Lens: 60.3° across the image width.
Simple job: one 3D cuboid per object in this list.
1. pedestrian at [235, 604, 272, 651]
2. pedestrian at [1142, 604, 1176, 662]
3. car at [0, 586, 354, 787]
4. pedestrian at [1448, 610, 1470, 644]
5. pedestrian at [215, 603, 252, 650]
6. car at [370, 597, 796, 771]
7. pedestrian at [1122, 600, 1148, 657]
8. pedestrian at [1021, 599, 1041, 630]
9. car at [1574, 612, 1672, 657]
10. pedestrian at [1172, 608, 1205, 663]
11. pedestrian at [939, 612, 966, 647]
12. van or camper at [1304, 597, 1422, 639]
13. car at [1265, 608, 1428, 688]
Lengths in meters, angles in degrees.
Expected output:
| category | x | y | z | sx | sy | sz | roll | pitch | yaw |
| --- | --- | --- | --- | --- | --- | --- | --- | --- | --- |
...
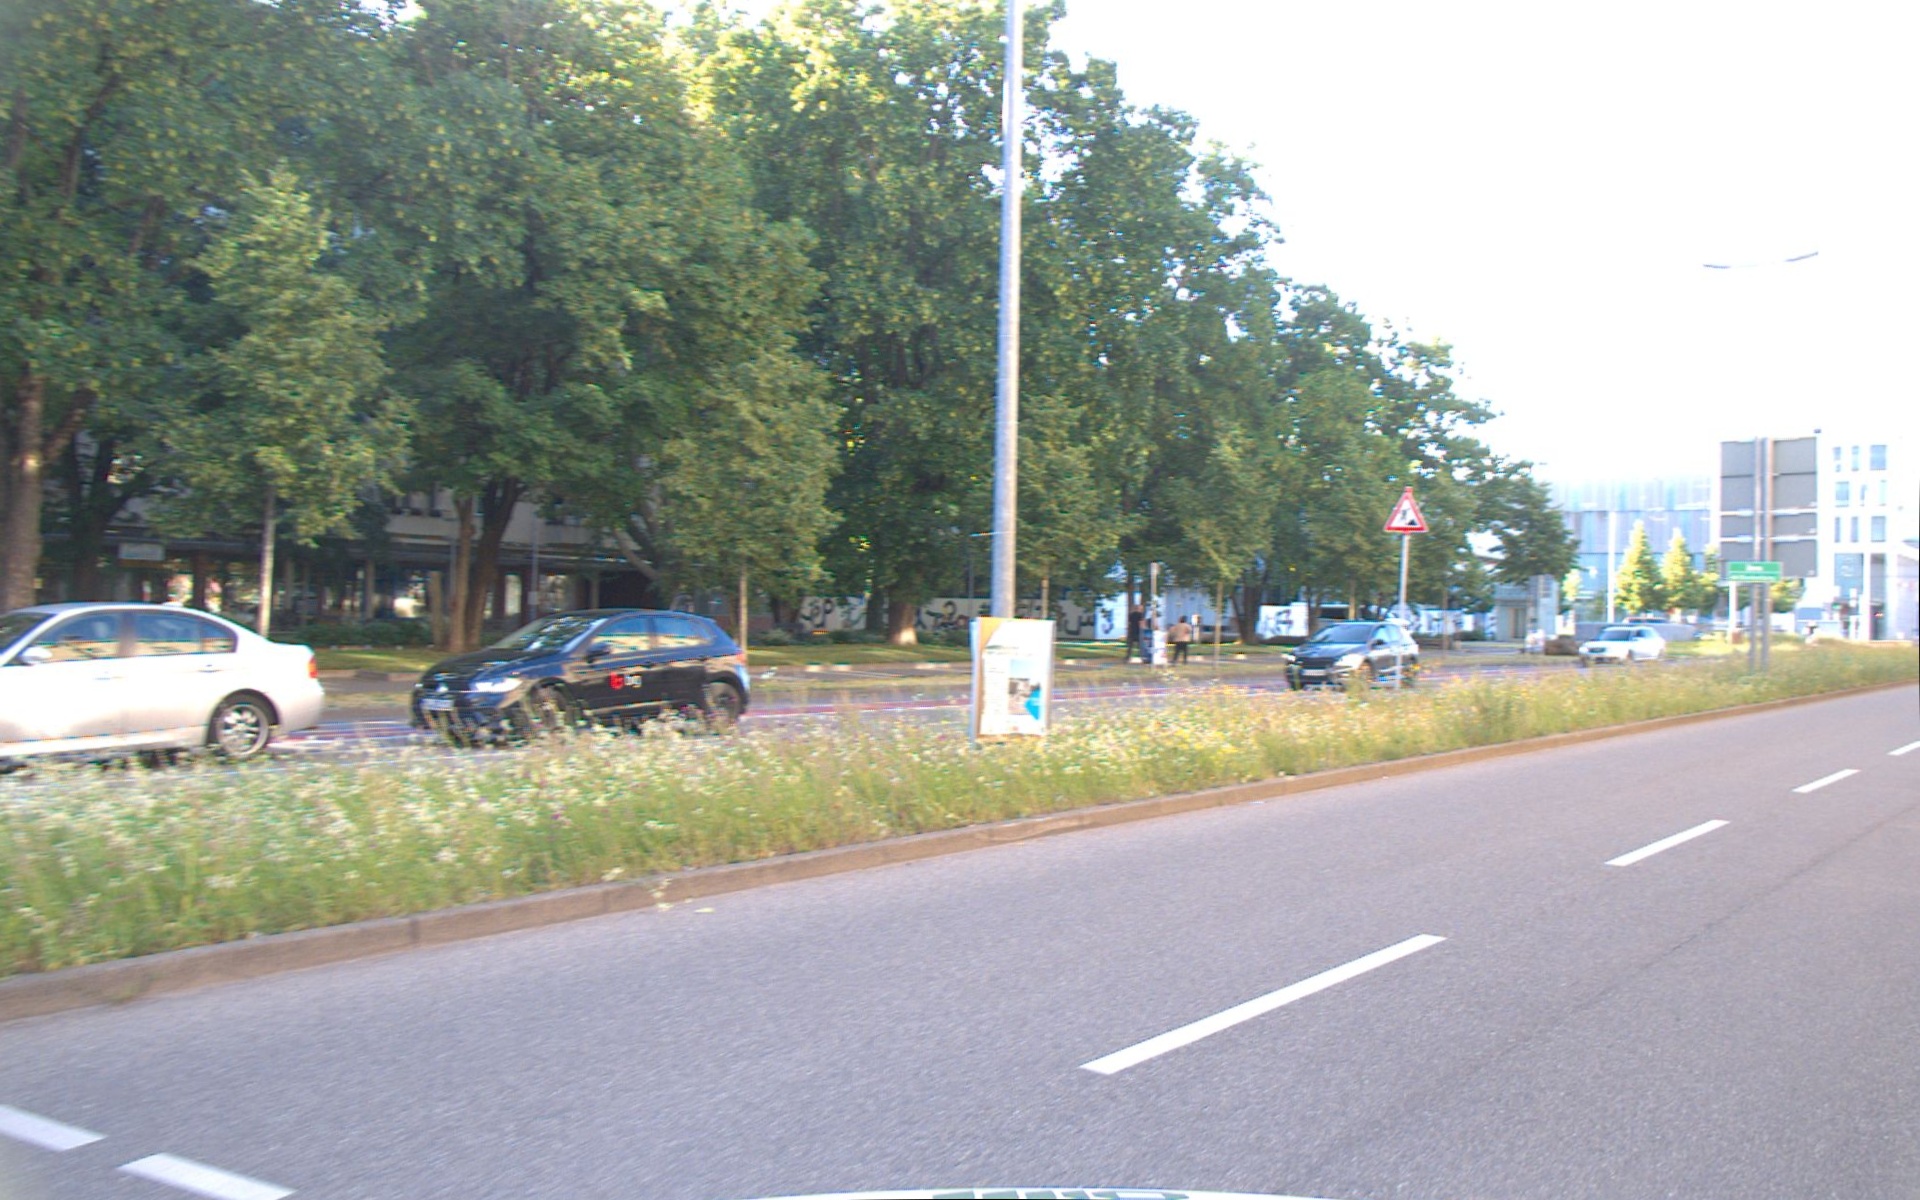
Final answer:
| category | x | y | z | sx | sy | sz | roll | pitch | yaw |
| --- | --- | --- | --- | --- | --- | --- | --- | --- | --- |
| pedestrian | -20.848 | 0.800 | 48.797 | 0.814 | 1.363 | 0.712 | 0 | -1 | 41 |
| pedestrian | 6.142 | 1.010 | 51.043 | 0.760 | 1.771 | 0.756 | 0 | -1 | 41 |
| car | -7.831 | 0.723 | 14.351 | 1.961 | 1.588 | 4.529 | -2 | -2 | 37 |
| pedestrian | 22.907 | 1.226 | 75.908 | 0.604 | 1.554 | 0.936 | 0 | 0 | 42 |
| pedestrian | -21.226 | 0.766 | 48.314 | 0.892 | 1.363 | 0.661 | 0 | -1 | 41 |
| car | -4.118 | 0.859 | 18.754 | 1.961 | 1.705 | 4.529 | 0 | -1 | 37 |
| pedestrian | 5.452 | 0.896 | 51.653 | 0.516 | 1.771 | 0.651 | 0 | -1 | 41 |
| pedestrian | 3.789 | 0.784 | 88.418 | 0.714 | 1.669 | 0.740 | 0 | -1 | 43 |
| car | 24.377 | 1.257 | 60.774 | 1.905 | 1.553 | 4.559 | 0 | -1 | 42 |
| pedestrian | 7.002 | 1.078 | 50.640 | 0.731 | 1.669 | 0.722 | 0 | -1 | 41 |
| pedestrian | -0.352 | 1.354 | 76.228 | 0.885 | 1.567 | 0.893 | 0 | -1 | 31 |
| van or camper | 20.988 | 0.945 | 86.288 | 5.574 | 2.049 | 2.246 | 0 | -3 | 39 |
| car | 8.395 | 1.007 | 35.734 | 1.961 | 1.592 | 4.043 | 0 | -1 | 37 |
